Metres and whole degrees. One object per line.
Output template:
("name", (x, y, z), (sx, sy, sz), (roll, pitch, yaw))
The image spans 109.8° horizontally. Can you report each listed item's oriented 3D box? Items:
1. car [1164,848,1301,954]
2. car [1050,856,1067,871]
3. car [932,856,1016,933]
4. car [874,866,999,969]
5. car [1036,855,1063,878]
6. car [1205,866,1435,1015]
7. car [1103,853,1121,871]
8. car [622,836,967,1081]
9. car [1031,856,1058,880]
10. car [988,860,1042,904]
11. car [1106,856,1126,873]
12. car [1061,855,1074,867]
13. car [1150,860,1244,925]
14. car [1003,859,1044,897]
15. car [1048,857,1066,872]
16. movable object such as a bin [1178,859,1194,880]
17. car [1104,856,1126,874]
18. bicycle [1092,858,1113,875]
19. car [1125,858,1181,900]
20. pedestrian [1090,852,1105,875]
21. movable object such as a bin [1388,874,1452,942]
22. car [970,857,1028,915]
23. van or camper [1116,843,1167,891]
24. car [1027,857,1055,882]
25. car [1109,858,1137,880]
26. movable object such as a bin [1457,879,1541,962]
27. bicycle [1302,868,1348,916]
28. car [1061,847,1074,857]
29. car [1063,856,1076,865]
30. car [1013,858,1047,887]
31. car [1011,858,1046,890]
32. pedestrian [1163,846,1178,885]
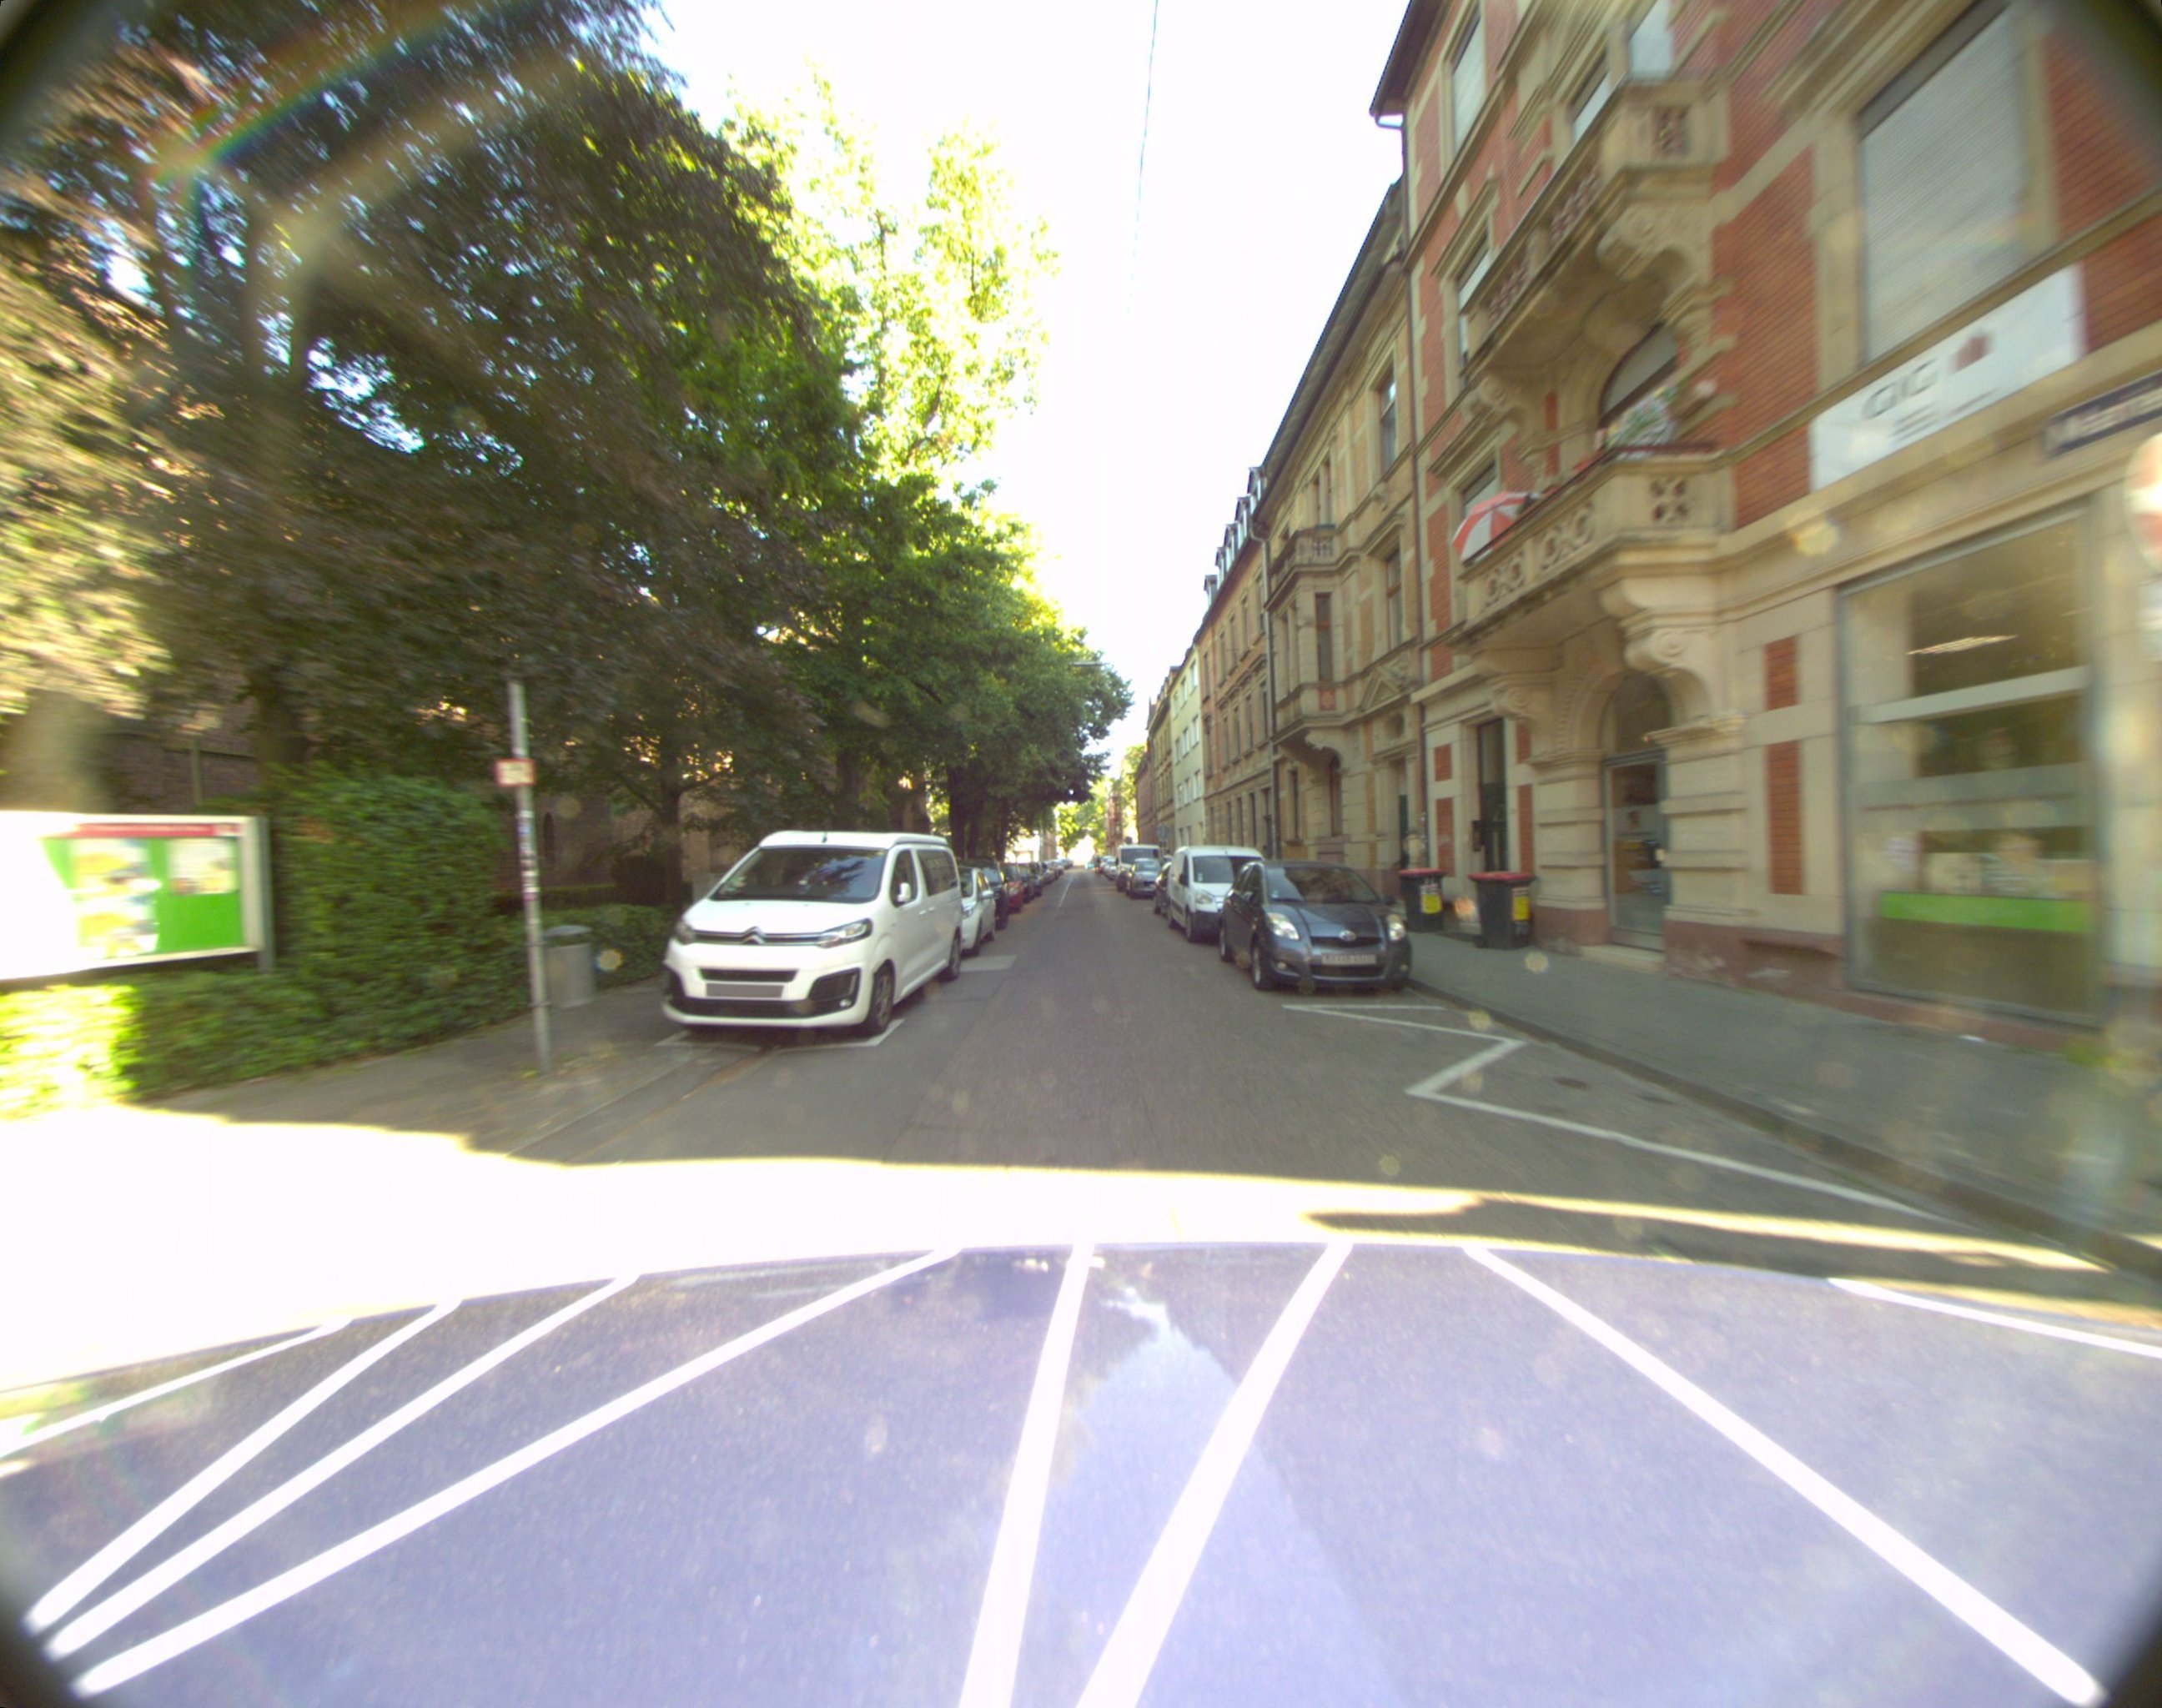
("car", (2.803, 0.791, 15.109), (1.836, 1.801, 4.571), (0, 0, 0))
("car", (-2.317, 0.961, 80.167), (1.713, 1.511, 3.830), (-1, 1, -1))
("car", (-2.615, 0.936, 19.462), (1.744, 1.594, 4.262), (3, 1, -4))
("car", (-2.561, 1.061, 14.317), (1.723, 1.562, 3.827), (-2, 0, -2))
("car", (-2.415, 0.935, 58.261), (1.668, 1.577, 4.100), (3, 1, 2))
("car", (2.790, 0.924, 9.810), (1.697, 1.472, 3.972), (0, 0, 0))
("car", (2.998, 0.784, 74.261), (1.713, 1.664, 4.277), (0, 1, 1))
("car", (-2.705, 0.846, 8.595), (1.919, 1.987, 4.792), (0, 0, 2))
("car", (-2.536, 0.987, 53.635), (1.603, 1.496, 3.720), (3, 1, 1))
("car", (-2.557, 1.065, 30.217), (1.622, 1.478, 3.776), (3, 1, 2))
("car", (3.074, 0.903, 67.840), (1.713, 1.409, 3.803), (0, 1, 1))
("car", (-1.904, 1.011, 108.980), (1.845, 1.643, 4.000), (-1, 0, 0))
("car", (2.947, 0.929, 20.077), (1.697, 1.505, 3.972), (0, 0, -3))
("car", (-2.609, 1.047, 34.943), (1.680, 1.433, 4.693), (3, 1, -4))
("car", (-2.343, 1.003, 74.797), (1.625, 1.428, 4.002), (-1, 1, -1))
("movable object such as a bin", (5.668, 0.853, 41.147), (0.802, 1.082, 0.666), (-2, 2, 4))
("car", (2.809, 0.863, 62.908), (1.713, 1.409, 3.803), (0, 1, 1))
("bicycle", (1.724, 0.992, 61.549), (0.573, 1.236, 1.840), (-5, 1, -40))
("car", (2.731, 0.914, 29.812), (1.771, 1.505, 4.193), (0, 0, -1))
("pedestrian", (1.331, 0.752, 61.196), (0.490, 1.793, 1.112), (-5, 1, -40))
("movable object such as a bin", (5.698, 0.892, 12.820), (0.639, 1.035, 0.856), (-4, 1, 0))
("car", (-2.630, 0.976, 25.043), (1.623, 1.615, 3.862), (3, 1, -3))
("van or camper", (2.797, 0.571, 36.112), (2.182, 2.135, 5.154), (0, 0, 2))
("car", (-2.559, 0.985, 49.442), (1.603, 1.462, 3.869), (0, 1, 1))
("car", (2.899, 1.016, 53.110), (1.735, 1.447, 4.521), (0, 0, 0))
("movable object such as a bin", (5.784, 0.898, 10.552), (0.639, 1.035, 0.856), (-4, 1, 0))
("bicycle", (5.857, 0.883, 18.312), (0.572, 1.035, 1.546), (-4, 0, 0))
("car", (-2.412, -0.342, 134.337), (1.998, 1.659, 4.000), (-2, 0, 2))
("car", (-2.112, 1.162, 140.862), (1.998, 1.659, 4.000), (-2, 0, 2))
("car", (-2.946, 1.047, 44.533), (1.603, 1.459, 3.563), (3, 1, 1))
("car", (-2.781, 1.018, 40.606), (1.603, 1.496, 3.627), (3, 1, -1))
("pedestrian", (4.381, 0.566, 37.174), (0.580, 1.872, 0.904), (-3, 2, 0))
